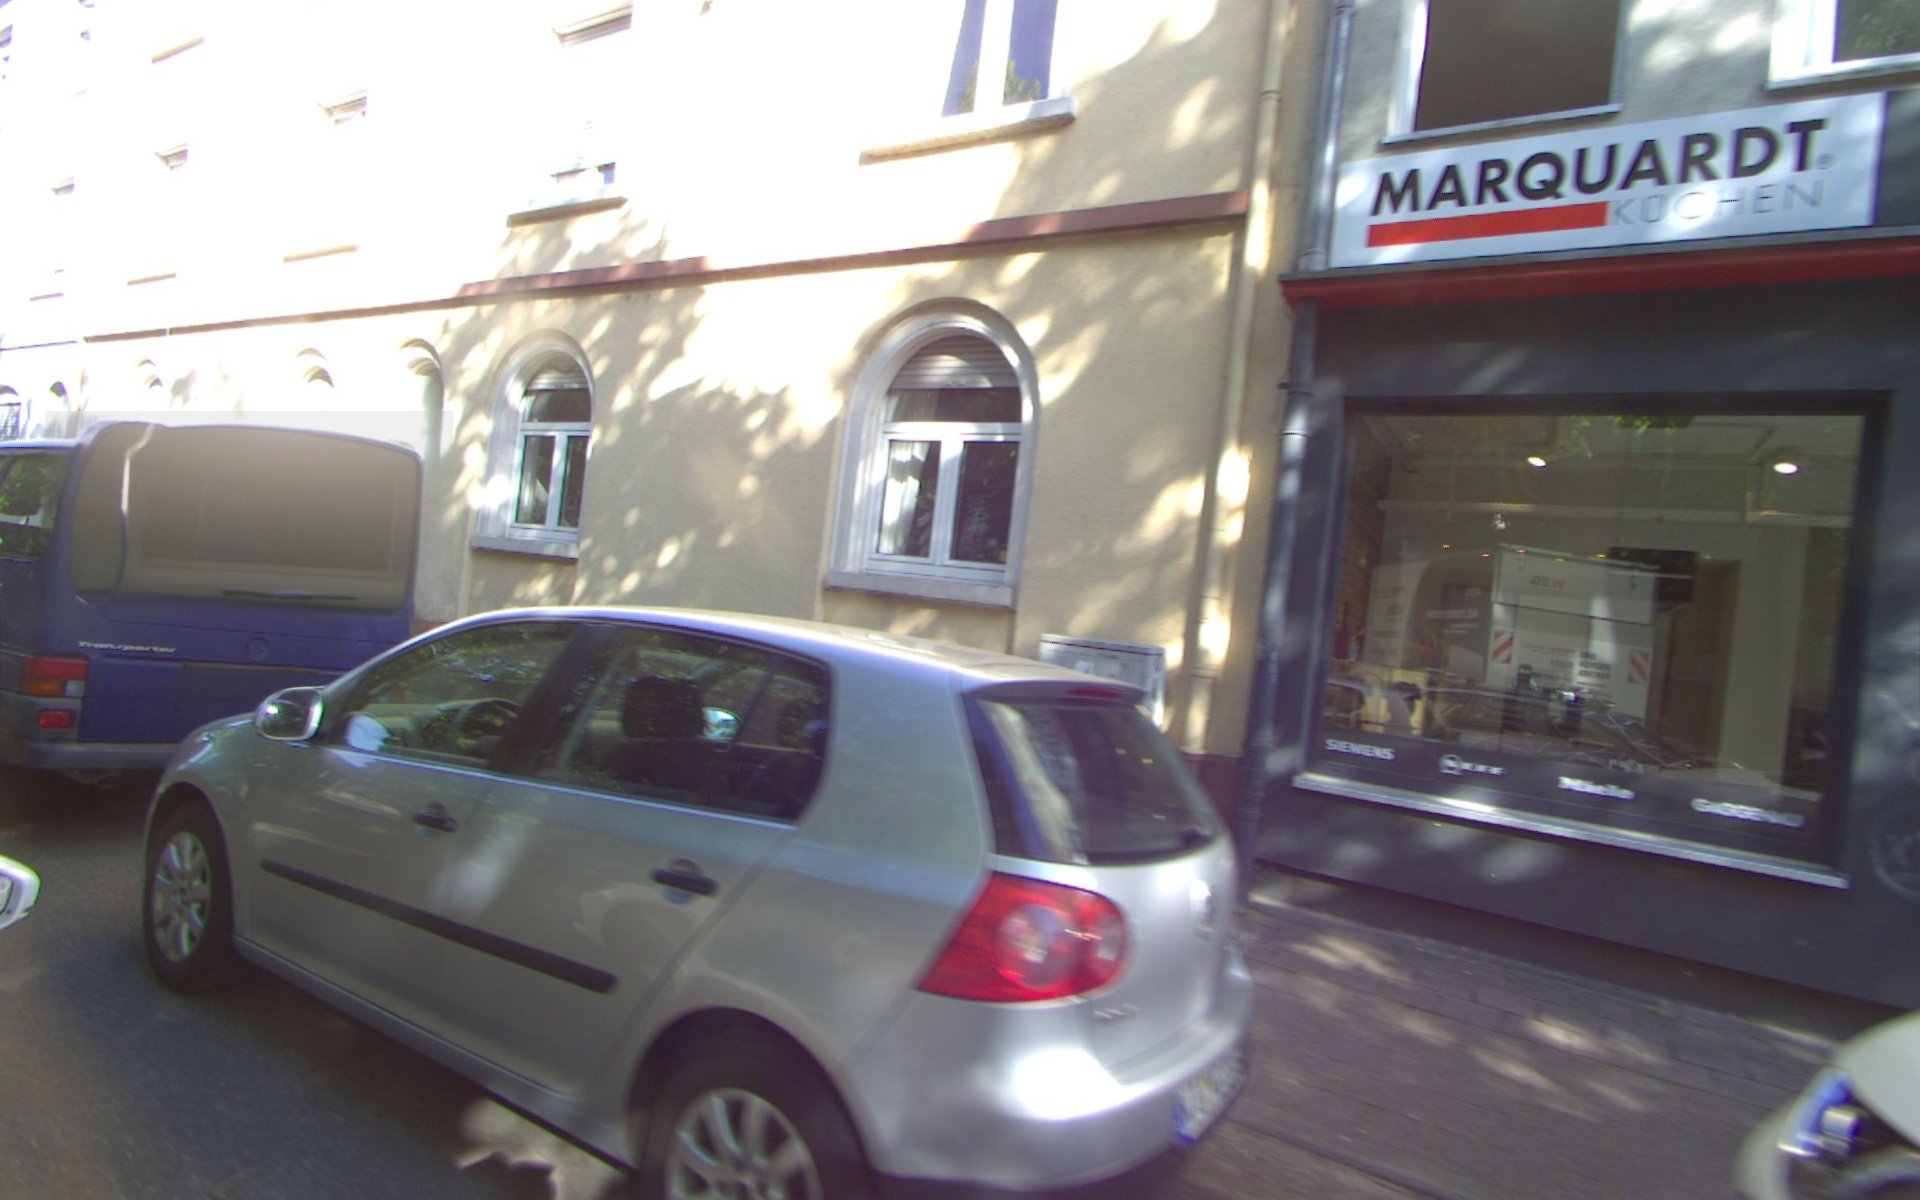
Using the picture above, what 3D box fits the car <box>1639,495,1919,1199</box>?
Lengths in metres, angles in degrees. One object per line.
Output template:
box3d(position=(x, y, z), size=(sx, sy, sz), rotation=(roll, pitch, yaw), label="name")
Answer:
box3d(position=(3.339, 1.015, 0.748), size=(4.433, 1.774, 1.765), rotation=(7, 0, 30), label="car")

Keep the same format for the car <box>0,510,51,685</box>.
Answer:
box3d(position=(-10.146, -0.222, 9.176), size=(3.533, 1.516, 1.624), rotation=(7, 0, 29), label="car")

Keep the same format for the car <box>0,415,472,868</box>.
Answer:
box3d(position=(-5.480, 0.028, 6.323), size=(4.765, 1.924, 1.951), rotation=(6, 0, 32), label="car")

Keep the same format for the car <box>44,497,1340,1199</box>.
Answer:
box3d(position=(-1.120, 0.640, 3.443), size=(4.167, 1.518, 1.765), rotation=(6, -1, 31), label="car")
